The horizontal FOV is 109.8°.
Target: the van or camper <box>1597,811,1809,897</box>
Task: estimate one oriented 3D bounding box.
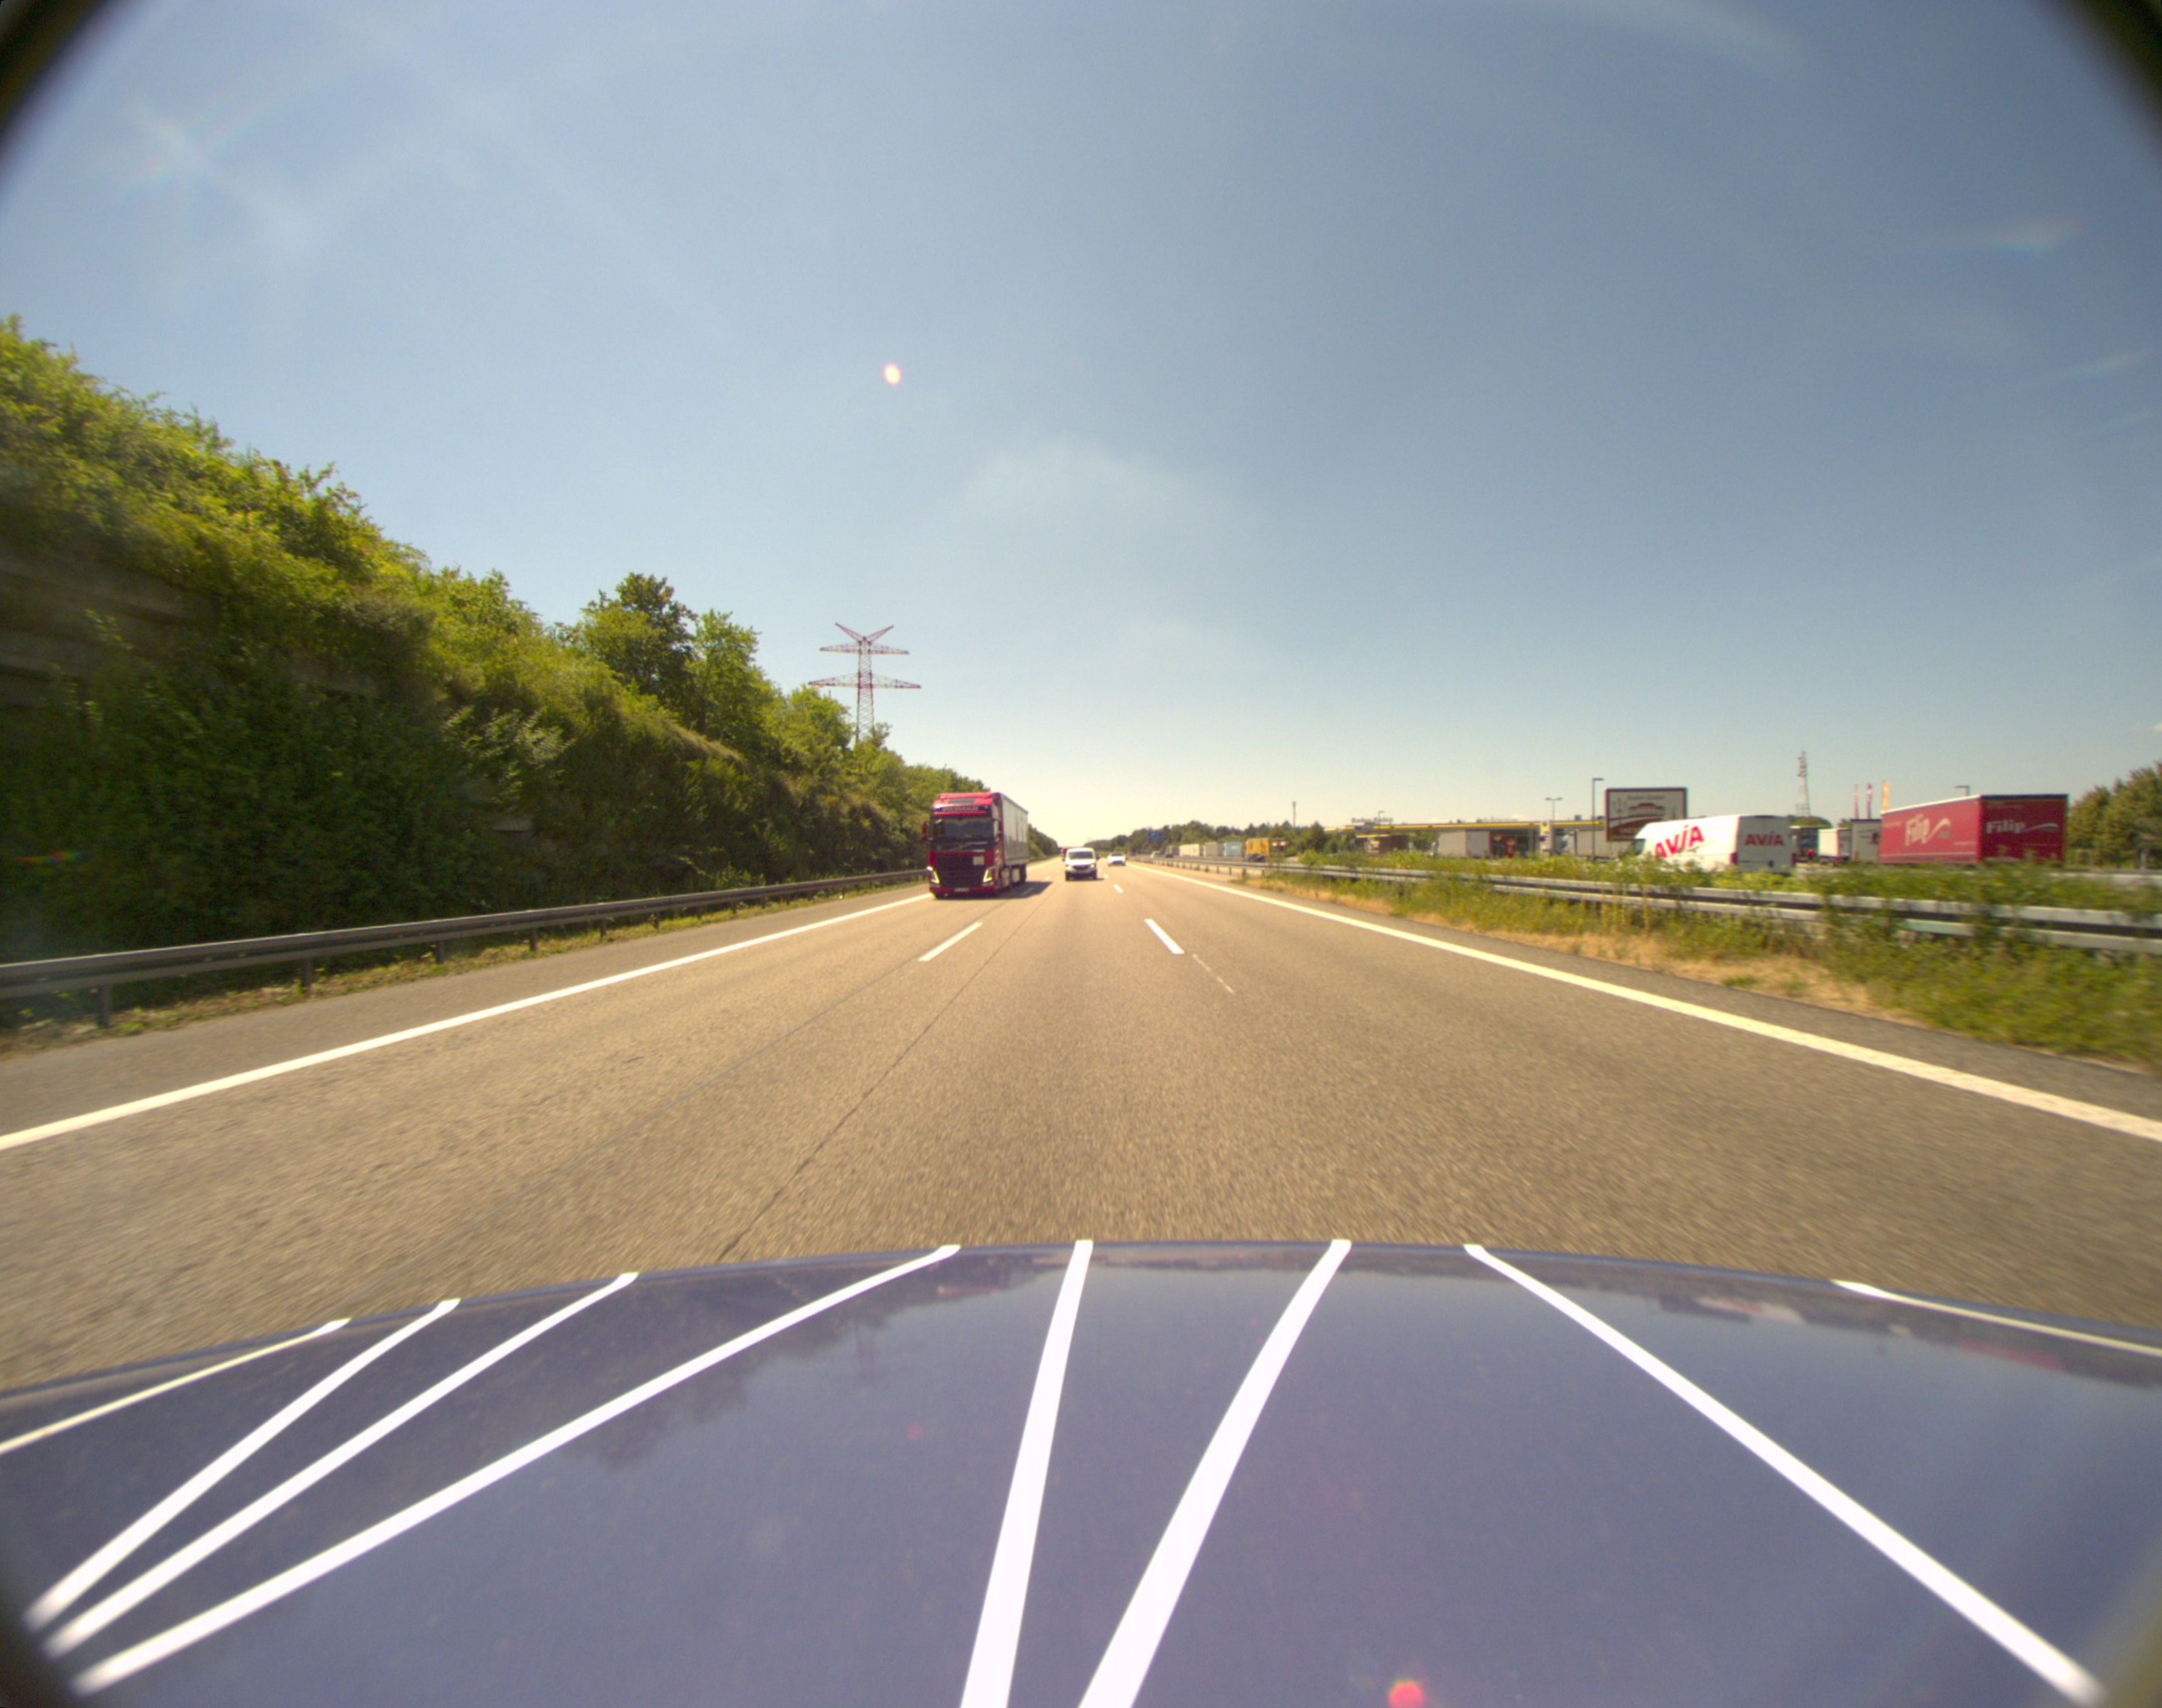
[{"bbox_3d":[20.999,-0.034,26.194,2.064,2.510,6.389,-3,0,1],"label":"van or camper"}]

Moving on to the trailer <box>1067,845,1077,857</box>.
[{"bbox_3d":[-2.877,-0.997,244.638,2.540,3.656,7.845,-3,0,1],"label":"trailer"}]

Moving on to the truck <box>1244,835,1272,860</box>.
[{"bbox_3d":[31.211,-1.171,134.052,2.840,4.176,7.917,-3,1,0],"label":"truck"}]

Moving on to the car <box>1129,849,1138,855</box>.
[{"bbox_3d":[14.838,-0.677,214.971,1.977,1.637,5.016,-3,0,0],"label":"car"}]

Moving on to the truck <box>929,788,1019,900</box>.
[{"bbox_3d":[-4.092,-0.391,30.545,2.505,3.897,7.096,-2,1,0],"label":"truck"}]

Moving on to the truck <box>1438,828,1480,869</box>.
[{"bbox_3d":[48.220,-0.725,97.136,3.306,4.822,7.633,-3,1,15],"label":"truck"}]

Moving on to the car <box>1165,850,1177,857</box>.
[{"bbox_3d":[17.934,-0.140,151.667,1.873,1.390,4.545,1,0,0],"label":"car"}]

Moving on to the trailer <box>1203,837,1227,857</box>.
[{"bbox_3d":[30.367,-1.612,172.353,3.121,4.134,11.013,-3,0,-1],"label":"trailer"}]

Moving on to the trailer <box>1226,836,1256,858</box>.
[{"bbox_3d":[31.008,-1.357,147.953,2.840,4.124,12.082,-3,0,-1],"label":"trailer"}]

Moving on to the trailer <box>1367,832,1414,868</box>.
[{"bbox_3d":[44.464,-0.621,109.490,3.040,4.822,9.134,-3,1,2],"label":"trailer"}]

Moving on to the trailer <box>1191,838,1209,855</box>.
[{"bbox_3d":[30.452,-1.858,194.651,2.605,4.194,10.513,-3,0,0],"label":"trailer"}]

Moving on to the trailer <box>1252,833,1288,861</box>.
[{"bbox_3d":[31.282,-1.136,126.065,2.840,4.195,11.081,-3,0,-1],"label":"trailer"}]

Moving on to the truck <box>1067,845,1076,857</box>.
[{"bbox_3d":[-2.940,-0.954,239.964,2.540,3.656,5.219,-3,1,1],"label":"truck"}]

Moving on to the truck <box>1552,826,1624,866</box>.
[{"bbox_3d":[58.203,-0.906,87.469,3.309,4.332,7.625,-3,1,2],"label":"truck"}]

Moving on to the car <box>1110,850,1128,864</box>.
[{"bbox_3d":[4.150,0.329,82.618,1.775,1.410,3.401,-3,0,1],"label":"car"}]

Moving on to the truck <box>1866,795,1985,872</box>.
[{"bbox_3d":[48.798,-1.200,44.158,3.119,4.026,6.657,-2,1,35],"label":"truck"}]

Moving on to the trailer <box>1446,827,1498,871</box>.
[{"bbox_3d":[46.431,-0.608,90.562,3.306,4.846,9.692,-3,1,15],"label":"trailer"}]

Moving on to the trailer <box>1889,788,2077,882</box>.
[{"bbox_3d":[44.774,-0.979,38.300,3.123,4.032,11.334,-2,1,34],"label":"trailer"}]

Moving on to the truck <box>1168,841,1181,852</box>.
[{"bbox_3d":[32.132,-2.696,262.027,2.806,3.622,13.604,-3,0,0],"label":"truck"}]

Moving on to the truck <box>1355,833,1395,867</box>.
[{"bbox_3d":[44.658,-0.671,115.740,3.033,4.822,7.878,-3,1,2],"label":"truck"}]

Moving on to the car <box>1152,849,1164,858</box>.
[{"bbox_3d":[13.394,-0.177,132.687,1.722,1.520,4.666,1,0,0],"label":"car"}]

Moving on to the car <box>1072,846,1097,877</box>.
[{"bbox_3d":[0.211,0.441,46.653,1.413,1.795,3.200,-3,1,0],"label":"car"}]

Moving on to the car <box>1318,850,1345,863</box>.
[{"bbox_3d":[31.528,0.342,95.627,1.817,1.480,4.508,-3,0,0],"label":"car"}]

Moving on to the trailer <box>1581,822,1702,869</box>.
[{"bbox_3d":[57.903,-0.838,79.166,3.309,4.332,12.921,-3,0,2],"label":"trailer"}]

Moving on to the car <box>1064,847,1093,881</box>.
[{"bbox_3d":[-0.132,0.518,43.058,1.501,1.799,3.393,-3,1,0],"label":"car"}]

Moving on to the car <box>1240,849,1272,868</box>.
[{"bbox_3d":[17.884,0.447,77.783,1.958,1.799,5.046,-3,0,-1],"label":"car"}]

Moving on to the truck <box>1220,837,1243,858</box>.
[{"bbox_3d":[30.861,-1.365,156.060,2.857,4.049,7.088,-3,1,-1],"label":"truck"}]

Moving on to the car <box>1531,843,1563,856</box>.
[{"bbox_3d":[71.198,-0.686,116.127,1.817,1.976,4.782,-3,0,0],"label":"car"}]

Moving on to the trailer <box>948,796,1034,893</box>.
[{"bbox_3d":[-4.108,-0.430,38.128,2.497,3.887,14.244,-2,0,0],"label":"trailer"}]
